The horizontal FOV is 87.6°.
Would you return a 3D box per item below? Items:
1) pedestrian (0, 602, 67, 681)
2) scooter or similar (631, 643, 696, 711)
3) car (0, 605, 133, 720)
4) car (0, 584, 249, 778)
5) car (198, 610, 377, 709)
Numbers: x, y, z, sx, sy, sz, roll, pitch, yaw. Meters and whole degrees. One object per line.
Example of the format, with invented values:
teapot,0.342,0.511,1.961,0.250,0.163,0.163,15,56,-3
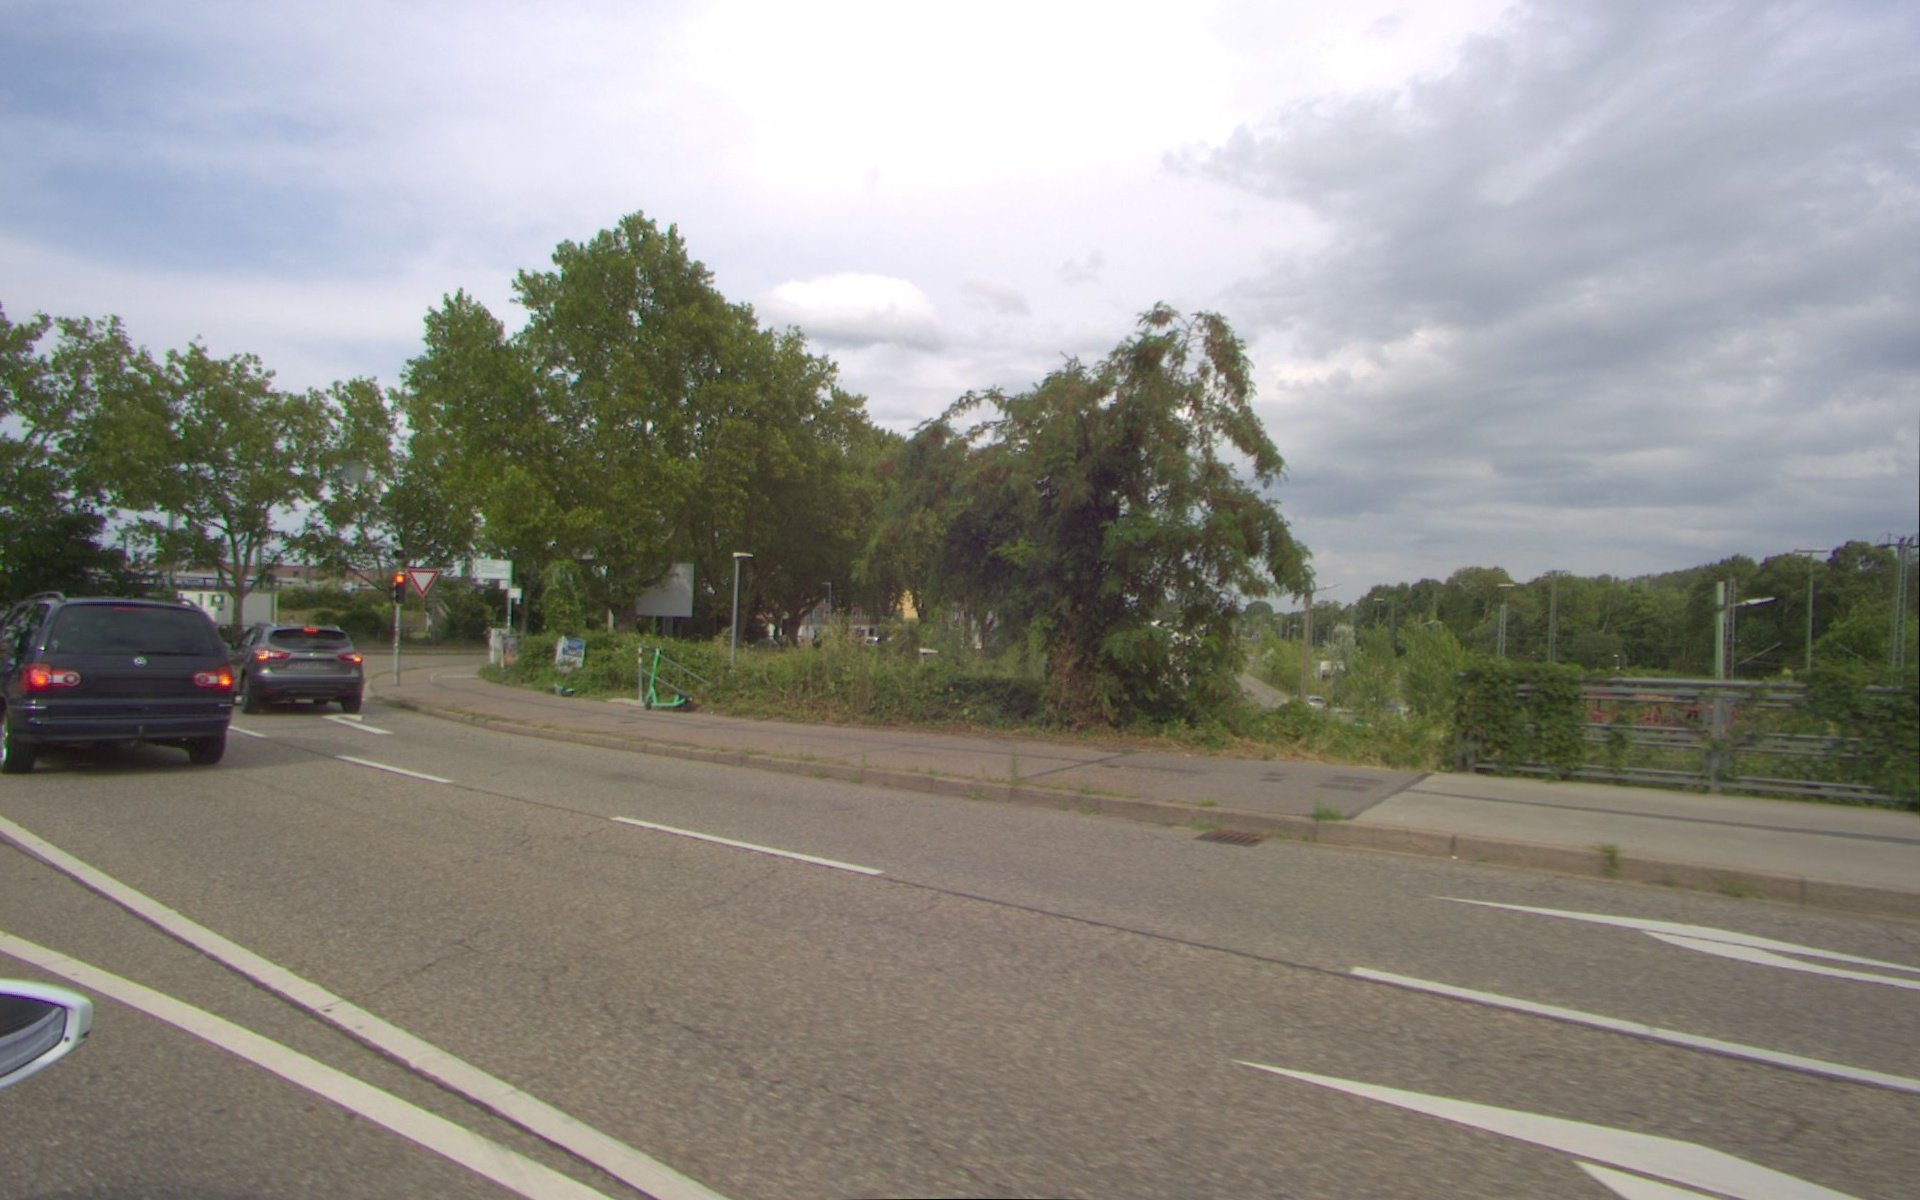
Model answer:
pedestrian,-20.891,0.927,22.597,1.040,1.732,0.845,3,-2,-43
scooter or similar,-5.447,1.398,18.381,1.261,1.198,0.396,0,-1,30
car,-14.509,0.936,15.729,4.109,1.605,1.683,-1,-4,42
car,-9.538,0.808,11.006,4.088,1.746,1.744,-1,-4,40
car,-12.715,1.087,18.841,4.090,1.663,1.743,-1,-4,41
